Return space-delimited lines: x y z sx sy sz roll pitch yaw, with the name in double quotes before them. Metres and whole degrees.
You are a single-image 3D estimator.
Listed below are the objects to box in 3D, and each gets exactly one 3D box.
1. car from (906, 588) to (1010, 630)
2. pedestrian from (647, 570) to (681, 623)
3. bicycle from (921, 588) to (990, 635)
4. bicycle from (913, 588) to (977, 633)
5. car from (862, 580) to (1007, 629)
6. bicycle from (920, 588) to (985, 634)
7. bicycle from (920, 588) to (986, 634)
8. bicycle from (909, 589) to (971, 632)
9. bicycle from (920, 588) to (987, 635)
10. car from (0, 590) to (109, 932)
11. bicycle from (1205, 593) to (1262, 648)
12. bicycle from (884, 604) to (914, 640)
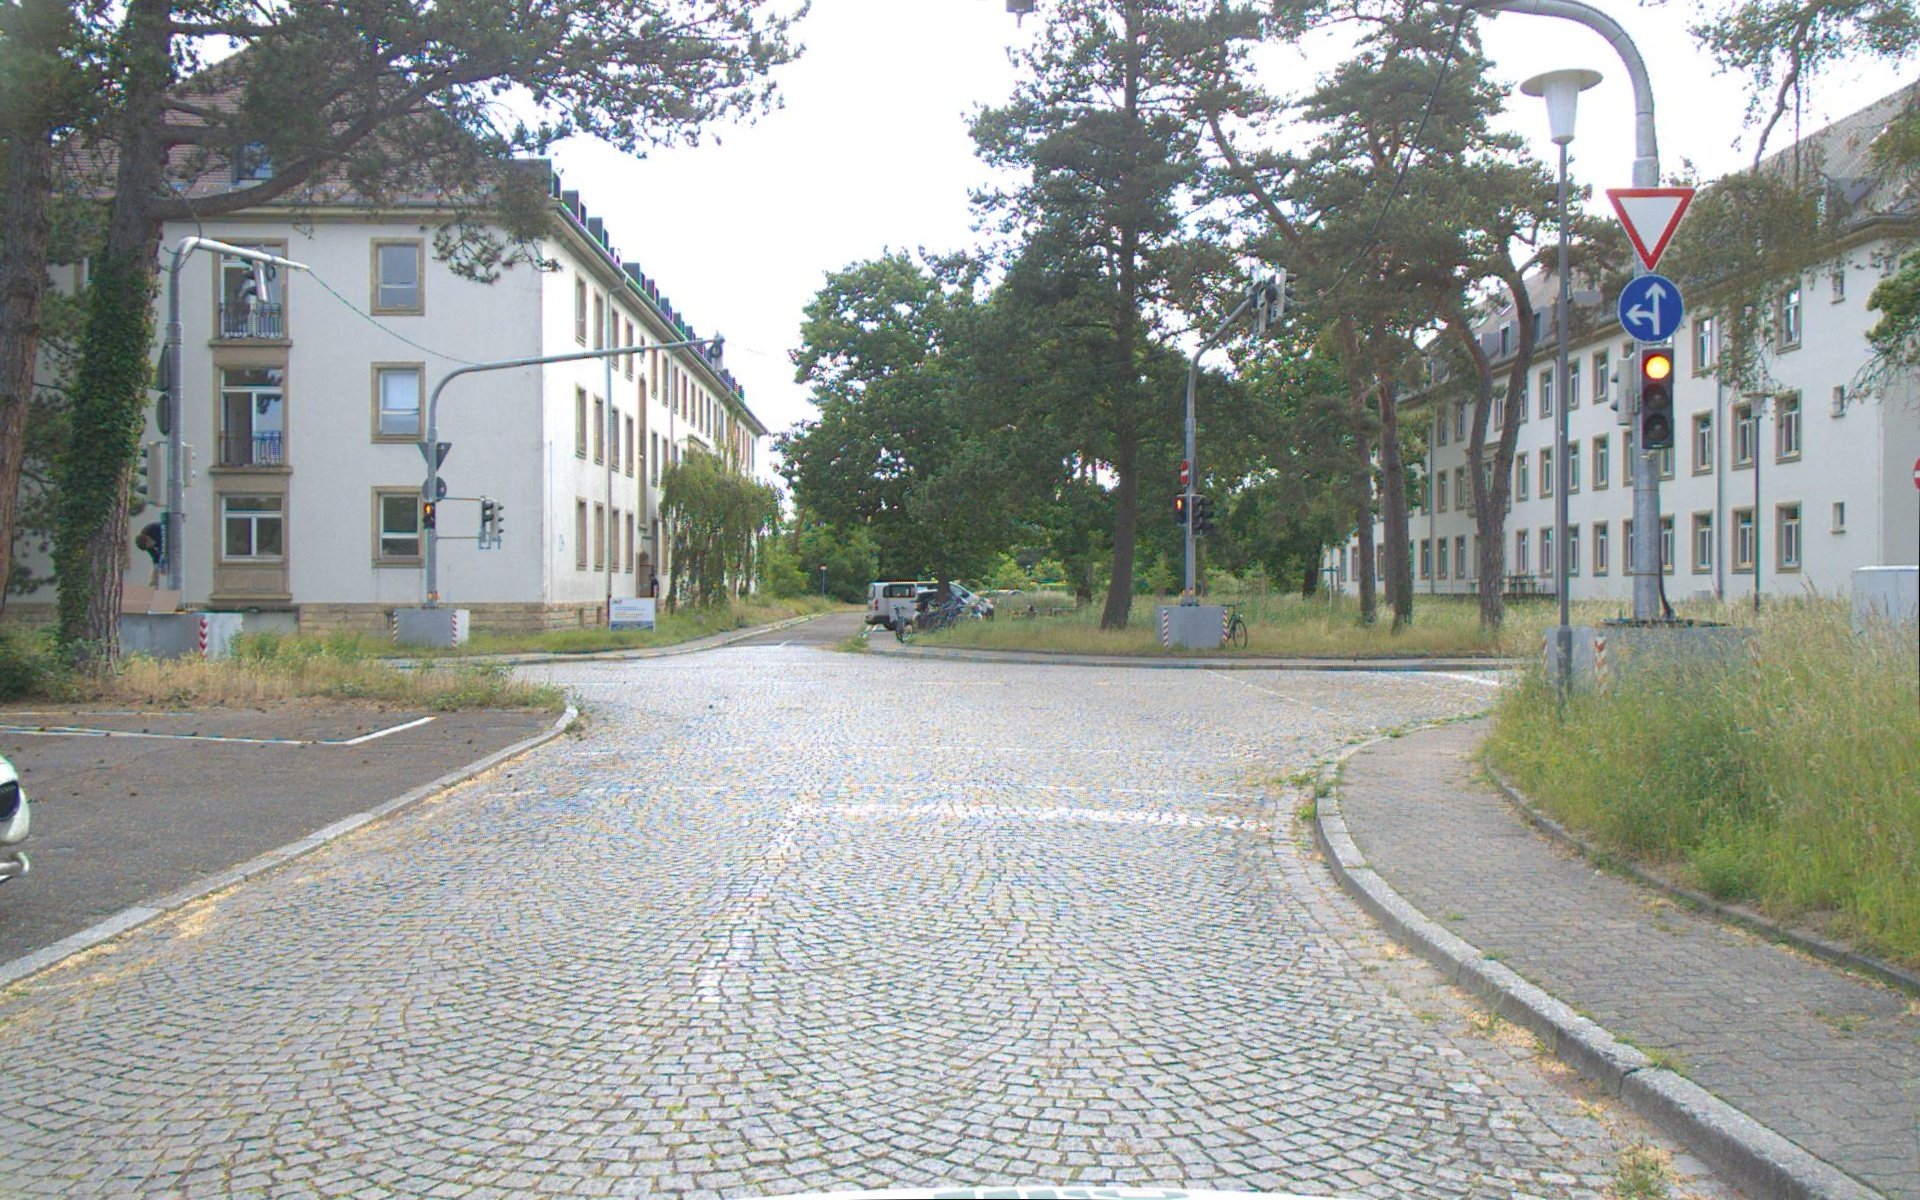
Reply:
"car" -0.097 0.334 63.899 3.857 1.571 1.997 0 0 -6
"pedestrian" -11.547 -0.132 64.566 1.064 2.049 1.022 0 0 4
"bicycle" -0.137 0.335 49.375 2.028 1.402 0.620 0 0 -1
"bicycle" -0.474 0.330 52.257 2.028 1.402 0.620 0 0 -1
"car" -1.062 0.169 67.243 5.595 1.944 2.222 0 0 -14
"bicycle" -0.231 0.338 51.465 2.028 1.402 0.620 0 0 -1
"bicycle" -0.218 0.336 50.669 2.028 1.402 0.620 0 0 -1
"bicycle" -0.647 0.330 53.738 2.028 1.402 0.620 0 0 -1
"bicycle" -0.198 0.335 50.044 2.028 1.402 0.620 0 0 -1
"car" -6.418 0.619 7.040 4.557 1.469 1.800 2 0 -5
"bicycle" 6.146 0.452 37.273 0.890 1.197 1.873 0 0 -2
"bicycle" -1.752 0.625 47.534 0.605 0.980 2.078 0 0 5
